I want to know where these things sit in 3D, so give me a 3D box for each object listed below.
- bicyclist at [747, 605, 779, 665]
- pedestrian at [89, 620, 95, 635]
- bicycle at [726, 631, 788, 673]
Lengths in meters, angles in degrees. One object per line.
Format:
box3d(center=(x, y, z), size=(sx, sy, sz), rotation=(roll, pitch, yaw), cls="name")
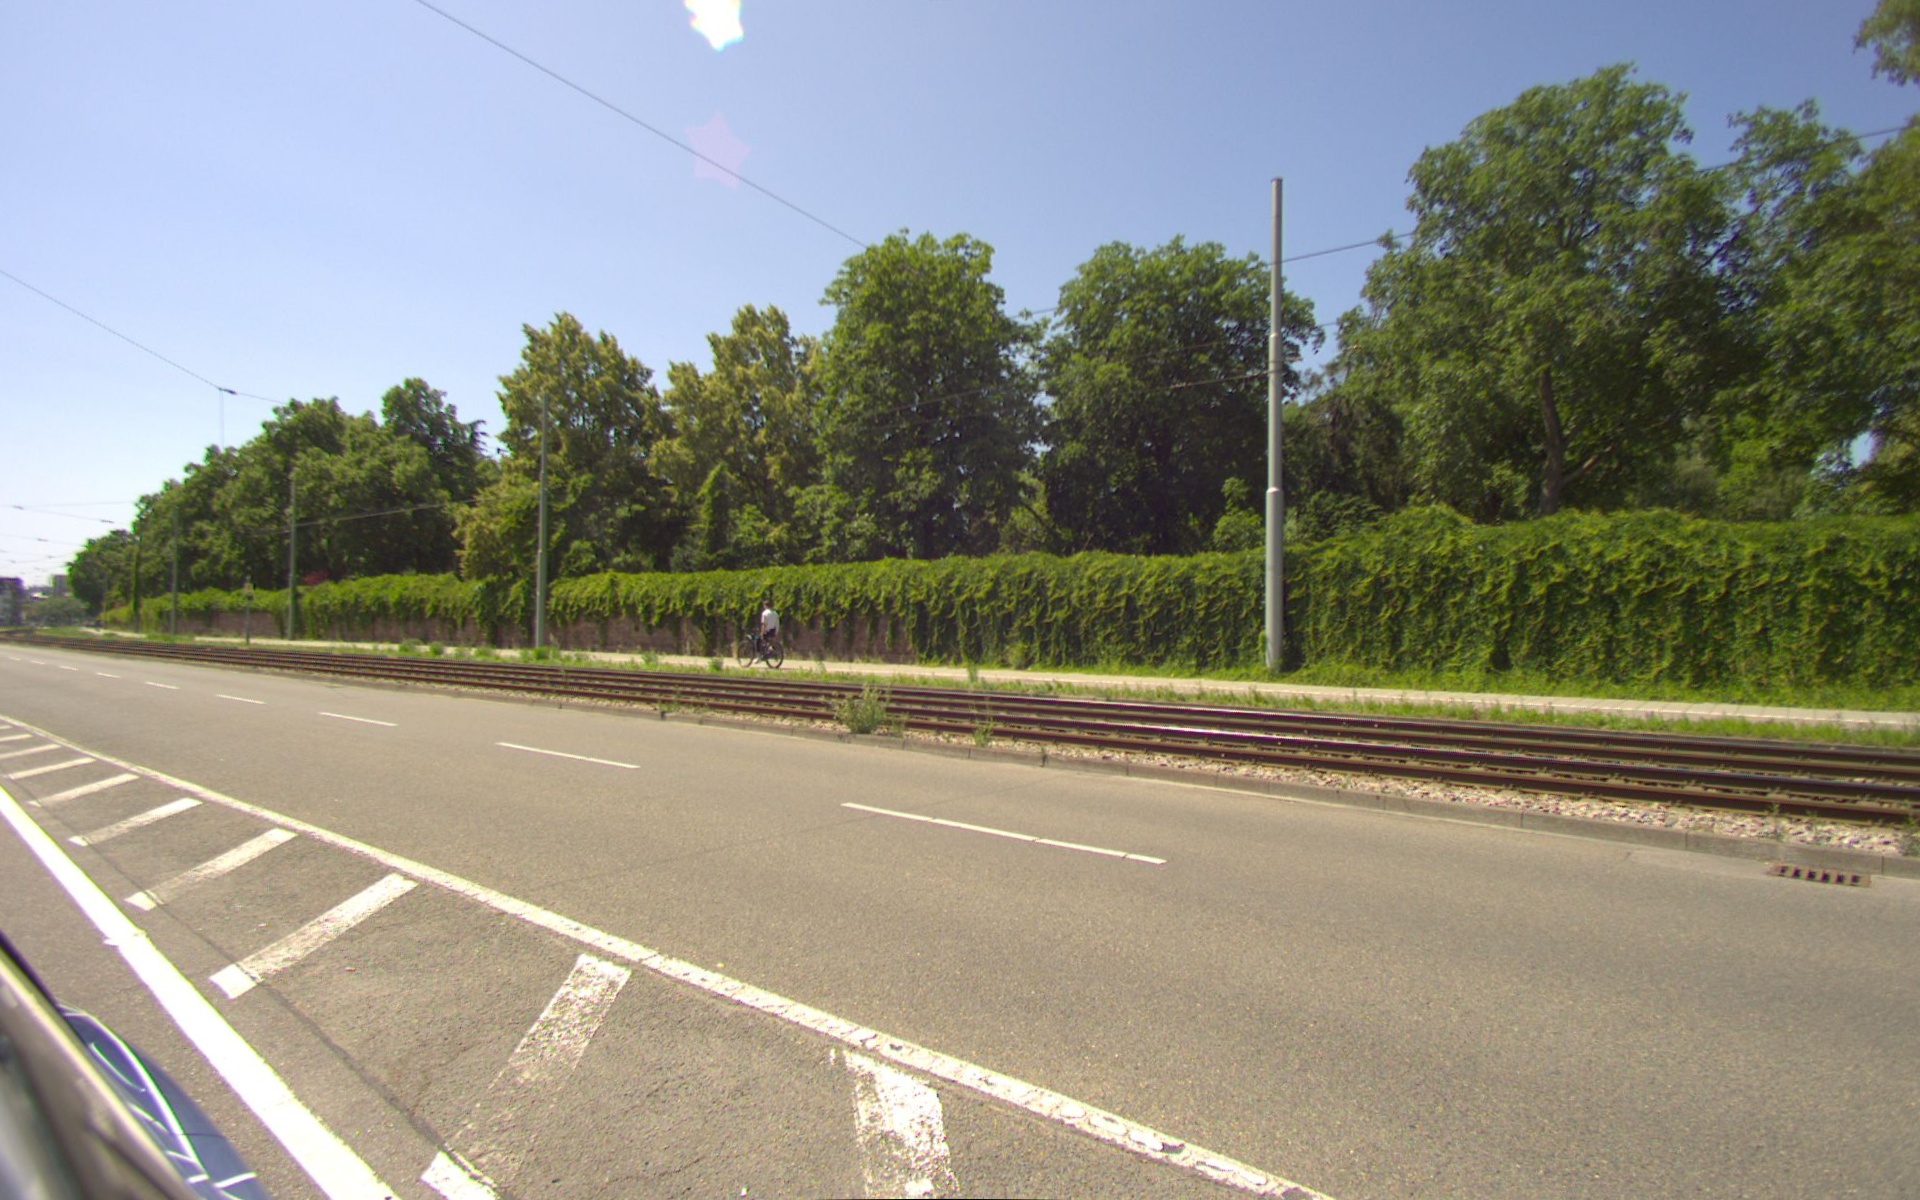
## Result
box3d(center=(-5.399, 0.948, 27.780), size=(0.768, 1.624, 0.477), rotation=(-1, 0, 41), cls="bicyclist")
box3d(center=(-95.721, 3.051, 111.614), size=(0.302, 1.677, 0.447), rotation=(-2, -1, 41), cls="pedestrian")
box3d(center=(-5.630, 1.424, 27.994), size=(1.977, 1.063, 0.609), rotation=(-1, 0, 42), cls="bicycle")
